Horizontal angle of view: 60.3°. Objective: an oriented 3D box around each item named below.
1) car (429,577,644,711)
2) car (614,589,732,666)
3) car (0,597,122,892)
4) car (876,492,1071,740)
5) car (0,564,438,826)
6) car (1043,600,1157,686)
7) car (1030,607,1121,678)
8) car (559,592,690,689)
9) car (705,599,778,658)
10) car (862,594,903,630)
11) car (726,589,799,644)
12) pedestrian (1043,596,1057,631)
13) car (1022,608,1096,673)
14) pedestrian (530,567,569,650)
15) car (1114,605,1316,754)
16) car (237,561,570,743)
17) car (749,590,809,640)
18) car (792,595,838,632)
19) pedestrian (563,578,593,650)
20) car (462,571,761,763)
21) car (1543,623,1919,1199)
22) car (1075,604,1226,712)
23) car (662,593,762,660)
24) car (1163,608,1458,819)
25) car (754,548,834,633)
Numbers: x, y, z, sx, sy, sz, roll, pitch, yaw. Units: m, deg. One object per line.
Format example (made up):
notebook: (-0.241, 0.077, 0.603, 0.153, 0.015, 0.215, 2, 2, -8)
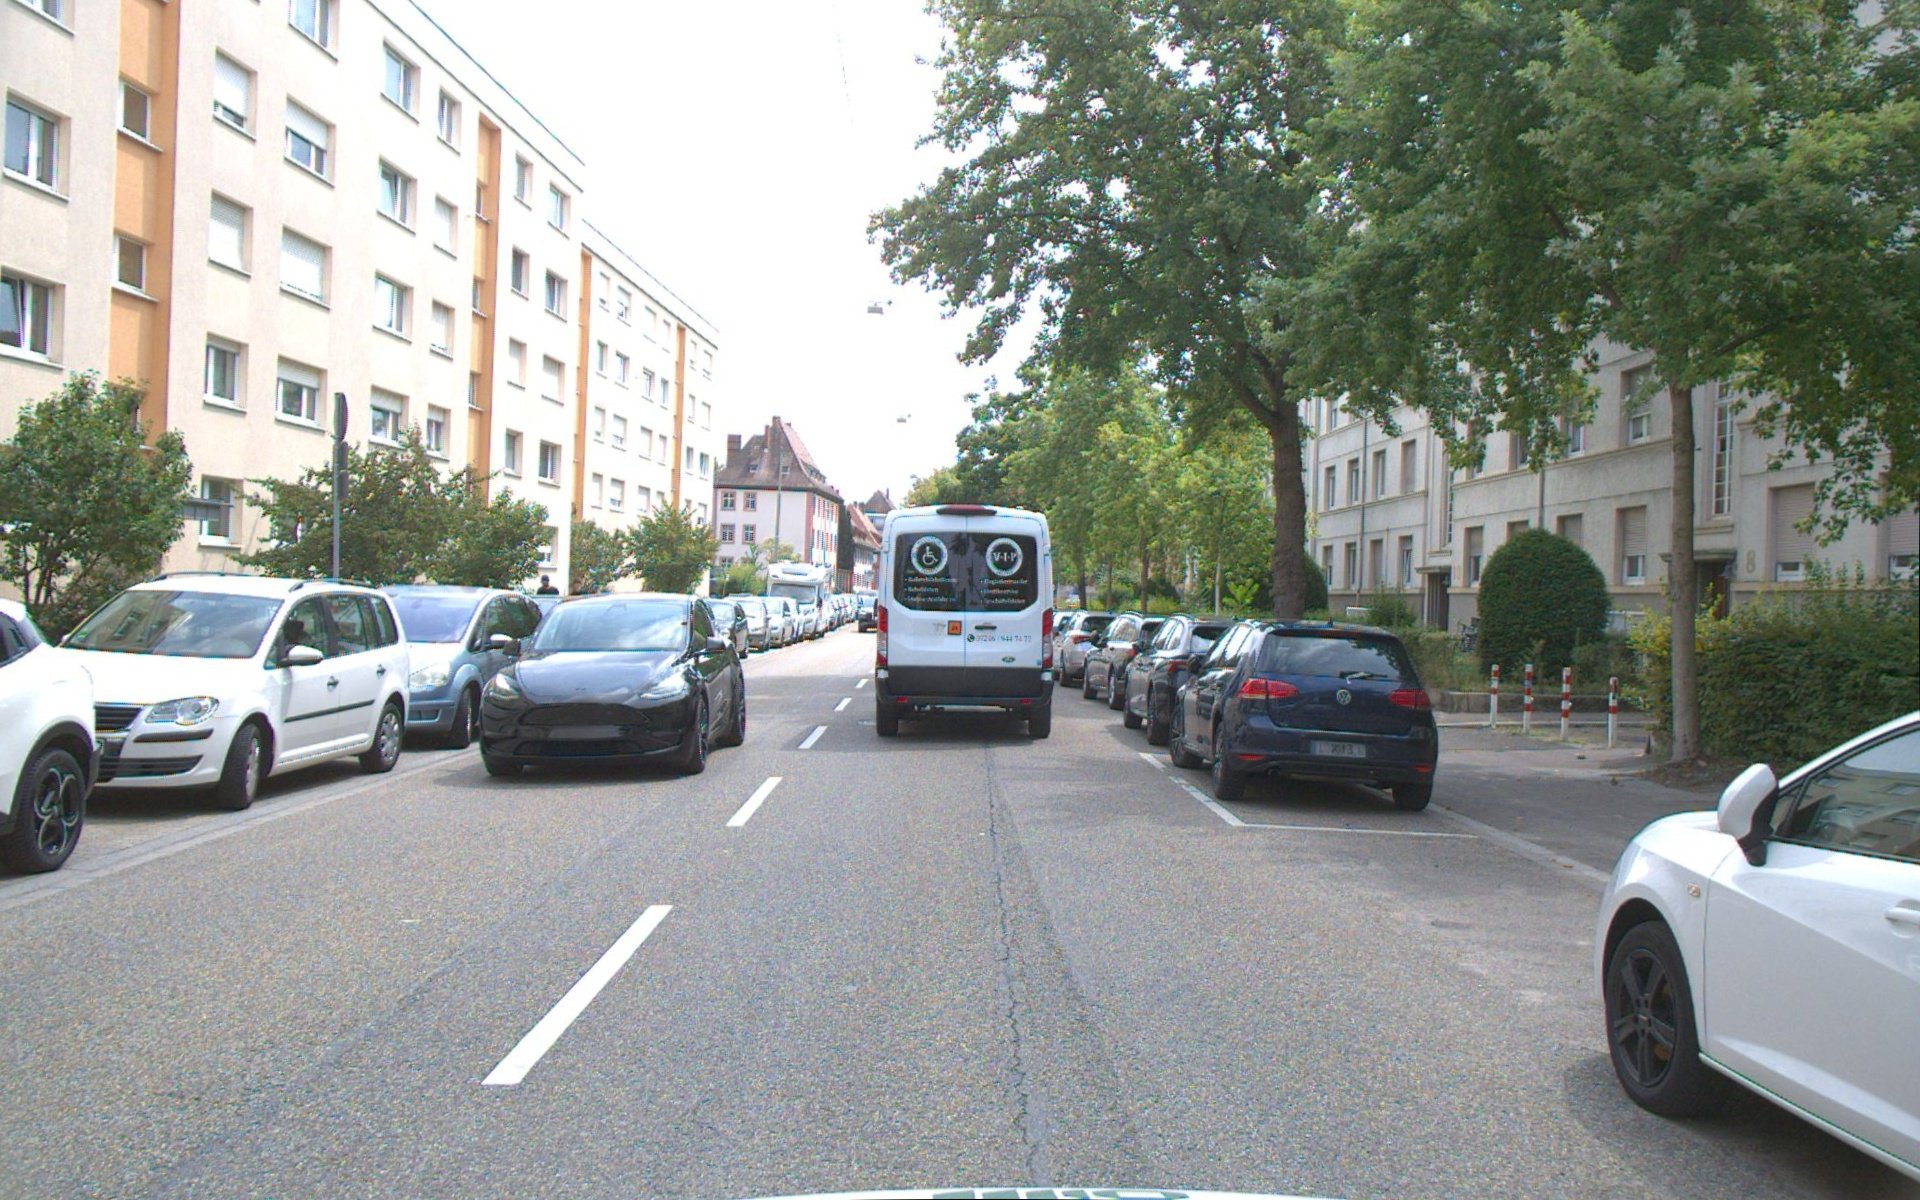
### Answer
car: (-5.931, 0.578, 23.716, 1.903, 1.641, 4.301, 3, 0, 0)
car: (-6.235, 0.580, 36.354, 1.781, 1.509, 3.885, 3, 0, 1)
car: (-5.764, 0.724, 7.775, 1.674, 1.498, 3.987, 3, 0, -2)
car: (0.052, 0.190, 19.772, 2.029, 2.585, 4.632, 1, -1, -3)
car: (-5.802, 0.628, 13.117, 1.662, 1.641, 4.478, 3, 0, 2)
car: (2.704, 0.796, 32.886, 1.663, 1.495, 4.716, 3, 0, -2)
car: (2.606, 0.946, 38.102, 1.636, 1.425, 3.850, 4, 0, -2)
car: (-6.087, 0.703, 30.369, 1.636, 1.589, 3.850, 3, 0, -2)
car: (-6.349, 0.795, 48.321, 1.688, 1.566, 4.003, 2, 1, -2)
car: (-3.579, 0.534, 76.672, 1.781, 1.613, 4.434, 1, 0, -2)
car: (-6.349, 0.524, 53.563, 1.719, 1.607, 4.568, 3, 0, 0)
pedestrian: (4.798, 0.699, 88.331, 0.520, 1.860, 0.515, 1, -1, -43)
car: (2.515, 1.005, 42.987, 1.743, 1.495, 4.615, 3, 0, 2)
pedestrian: (-9.265, 0.192, 37.362, 0.607, 1.844, 0.899, 3, -1, -3)
car: (2.939, 0.858, 19.943, 1.662, 1.495, 4.559, 3, 0, 0)
car: (-5.932, 0.511, 18.361, 1.902, 1.641, 4.862, 3, 0, 1)
car: (-6.380, 0.522, 58.765, 1.654, 1.607, 4.592, 3, 0, -1)
car: (-6.822, 0.615, 78.320, 1.848, 1.607, 5.217, 3, 0, -2)
pedestrian: (-9.970, 0.356, 43.198, 0.607, 1.845, 0.803, 1, 0, -3)
car: (-3.131, 0.553, 15.853, 1.911, 1.548, 4.612, -1, 0, 0)
car: (3.087, 0.855, 4.101, 1.663, 1.475, 4.099, 2, 0, -2)
car: (2.965, 0.857, 26.645, 1.663, 1.495, 4.752, 3, 0, -2)
car: (-6.223, 0.647, 41.882, 1.781, 1.509, 4.116, 3, 0, 1)
car: (2.906, 0.870, 14.566, 1.663, 1.495, 4.101, 3, 0, 0)
car: (-6.508, -0.360, 65.757, 2.460, 3.077, 7.394, 3, 0, -1)
